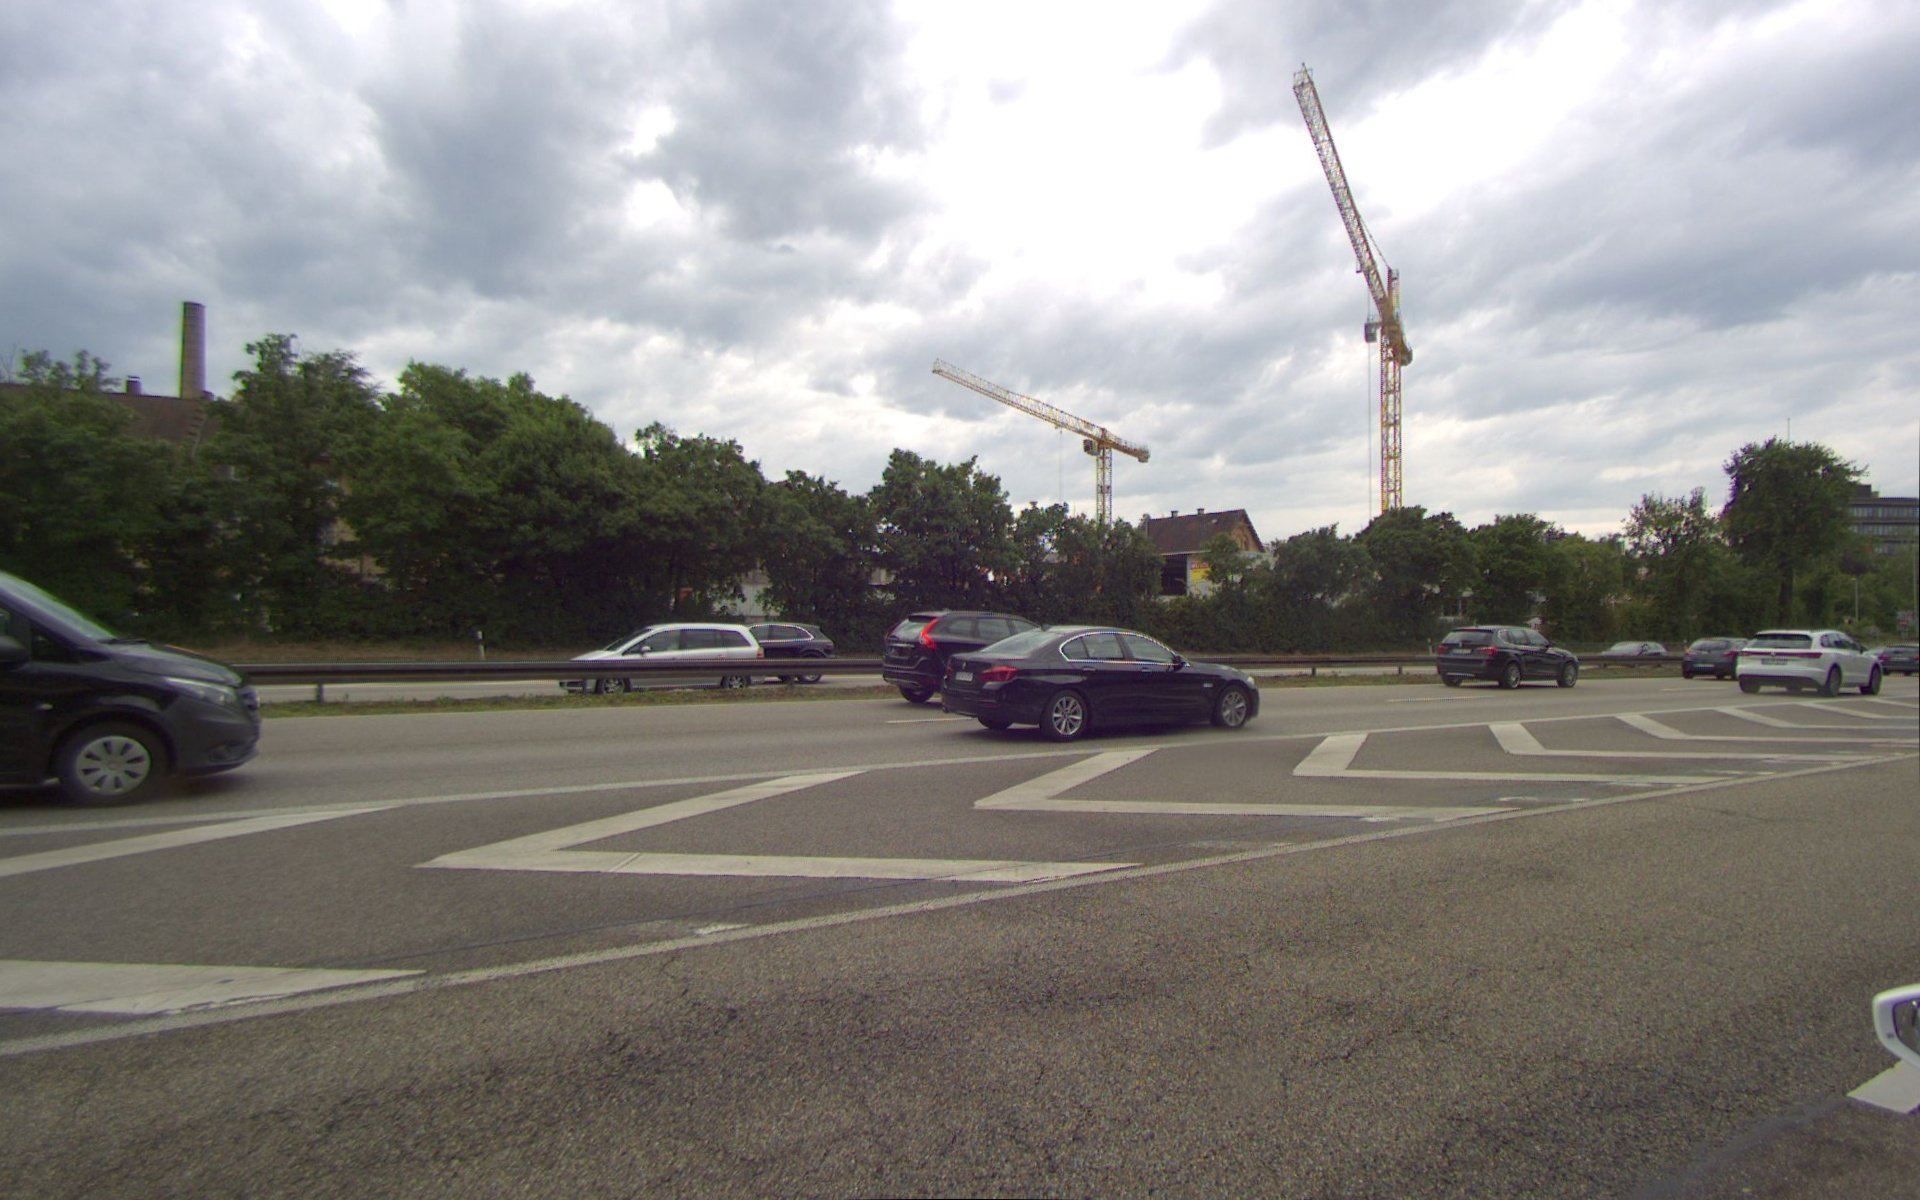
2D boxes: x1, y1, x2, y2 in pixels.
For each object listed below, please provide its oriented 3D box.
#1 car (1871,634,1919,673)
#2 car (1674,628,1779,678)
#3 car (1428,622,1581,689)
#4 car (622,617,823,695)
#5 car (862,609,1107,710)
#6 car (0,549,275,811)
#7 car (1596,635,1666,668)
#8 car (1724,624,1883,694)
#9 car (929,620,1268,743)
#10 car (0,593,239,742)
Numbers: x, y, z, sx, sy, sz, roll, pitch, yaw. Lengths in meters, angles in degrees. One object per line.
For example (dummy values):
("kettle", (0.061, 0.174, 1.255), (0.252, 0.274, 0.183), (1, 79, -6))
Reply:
("car", (42.453, 2.371, 44.879), (3.693, 1.654, 1.678), (2, 0, -32))
("car", (27.151, 1.840, 35.560), (3.964, 1.629, 1.678), (2, 0, -32))
("car", (14.970, 1.480, 27.581), (4.259, 1.703, 1.880), (2, -2, -32))
("car", (-5.398, 1.246, 22.984), (4.126, 1.643, 1.775), (2, -2, -32))
("car", (0.498, 1.036, 18.380), (4.218, 1.657, 1.743), (2, -1, -31))
("car", (-8.111, 0.558, 7.556), (4.759, 1.875, 1.982), (2, -1, -33))
("car", (36.353, 2.769, 54.400), (3.964, 1.629, 1.678), (2, 0, -32))
("car", (22.503, 1.536, 26.766), (4.456, 1.714, 1.936), (2, -2, -32))
("car", (1.999, 1.052, 14.021), (4.609, 1.476, 1.705), (1, -1, -29))
("car", (-10.771, 0.740, 11.482), (3.898, 1.588, 1.758), (2, -2, -30))
